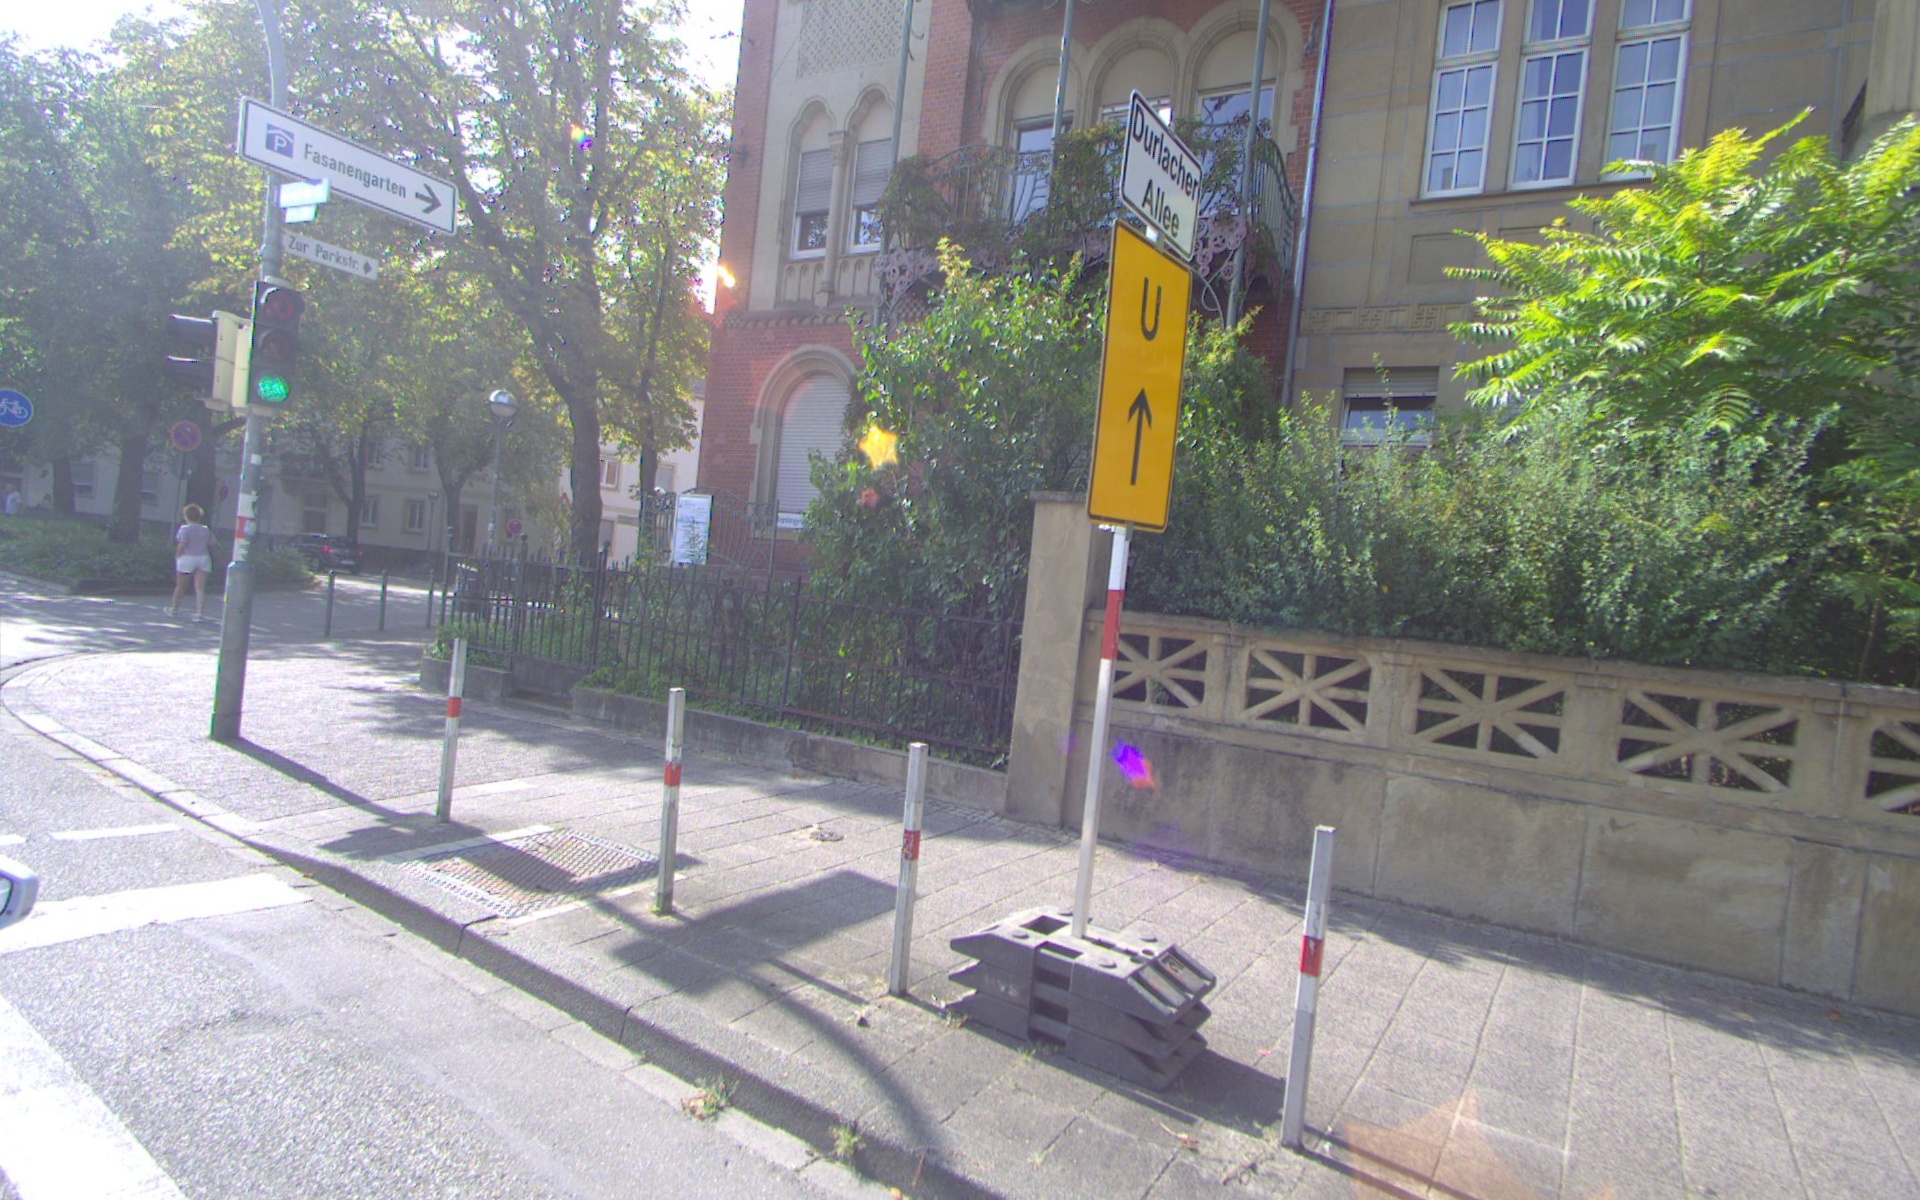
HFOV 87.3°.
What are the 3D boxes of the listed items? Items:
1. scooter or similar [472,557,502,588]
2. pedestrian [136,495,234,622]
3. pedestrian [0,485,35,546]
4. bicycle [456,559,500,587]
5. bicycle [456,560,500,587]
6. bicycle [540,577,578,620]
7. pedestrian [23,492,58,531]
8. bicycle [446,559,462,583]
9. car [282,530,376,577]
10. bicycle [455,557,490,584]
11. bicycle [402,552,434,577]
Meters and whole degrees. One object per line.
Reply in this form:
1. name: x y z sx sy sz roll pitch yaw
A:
1. scooter or similar: -19.751 -1.149 42.010 1.059 1.214 0.456 2 4 -28
2. pedestrian: -11.415 -0.601 14.836 0.757 1.753 0.752 6 1 22
3. pedestrian: -29.528 -2.636 31.345 0.887 1.762 0.767 5 1 -40
4. bicycle: -20.388 -1.134 42.546 0.420 0.990 1.546 7 1 45
5. bicycle: -20.218 -1.105 42.252 0.420 0.990 1.546 7 1 45
6. bicycle: -10.094 -0.046 25.376 0.418 0.990 1.767 6 0 -9
7. pedestrian: -45.673 -4.394 49.971 0.879 1.762 0.774 6 1 -11
8. bicycle: -21.593 -1.247 42.938 0.420 0.990 1.548 5 1 -21
9. car: -24.756 -1.831 39.436 3.941 1.436 1.852 6 0 38
10. bicycle: -21.216 -1.265 43.798 0.417 1.052 1.556 6 0 12
11. bicycle: -24.988 -1.655 46.383 1.529 0.990 0.425 6 1 28
